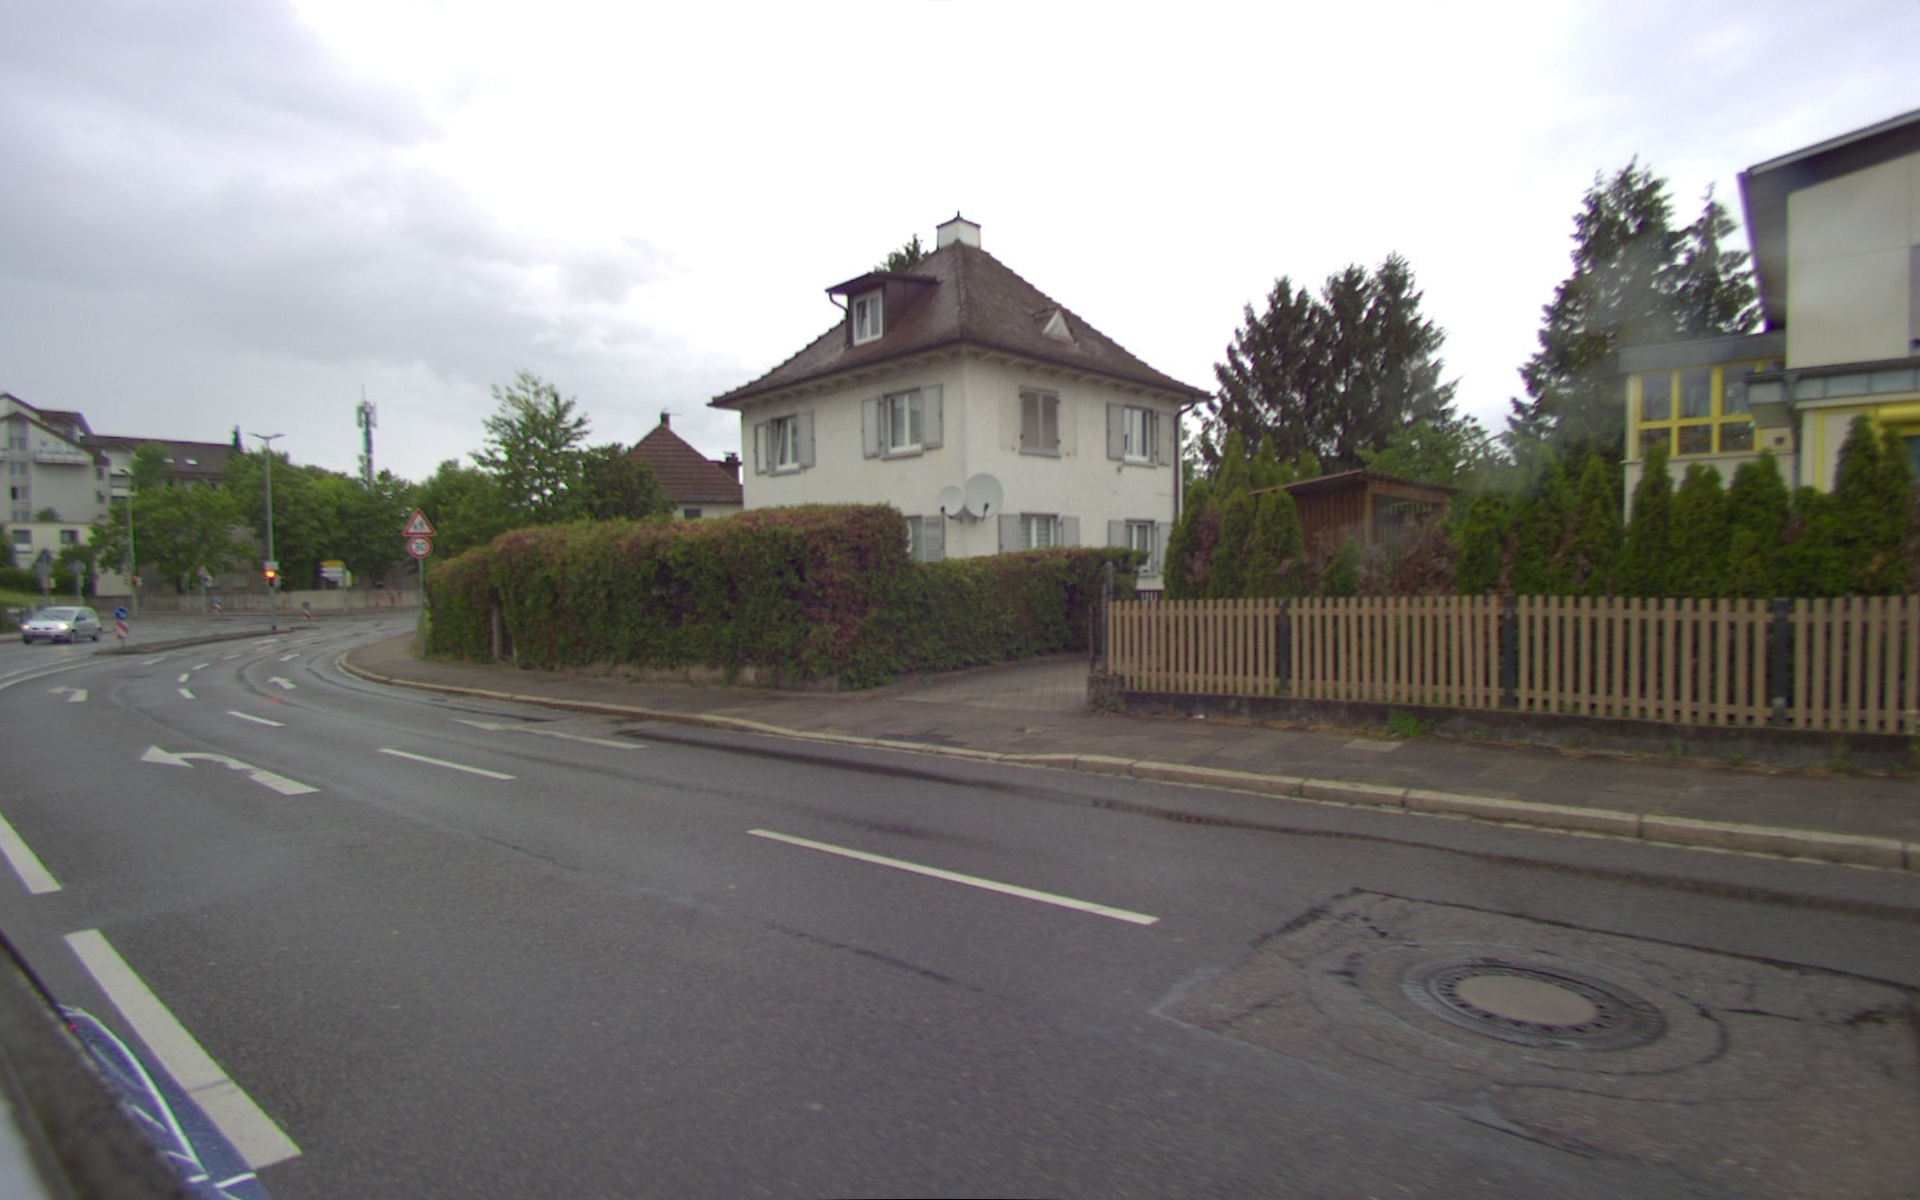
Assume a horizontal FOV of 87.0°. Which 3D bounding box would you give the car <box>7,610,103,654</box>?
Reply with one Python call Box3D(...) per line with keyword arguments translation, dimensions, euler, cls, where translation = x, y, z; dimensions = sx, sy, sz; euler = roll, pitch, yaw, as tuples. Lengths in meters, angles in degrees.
Box3D(translation=(-39.121, 1.337, 43.881), dimensions=(1.965, 1.669, 4.014), euler=(-1, 2, -24), cls="car")
